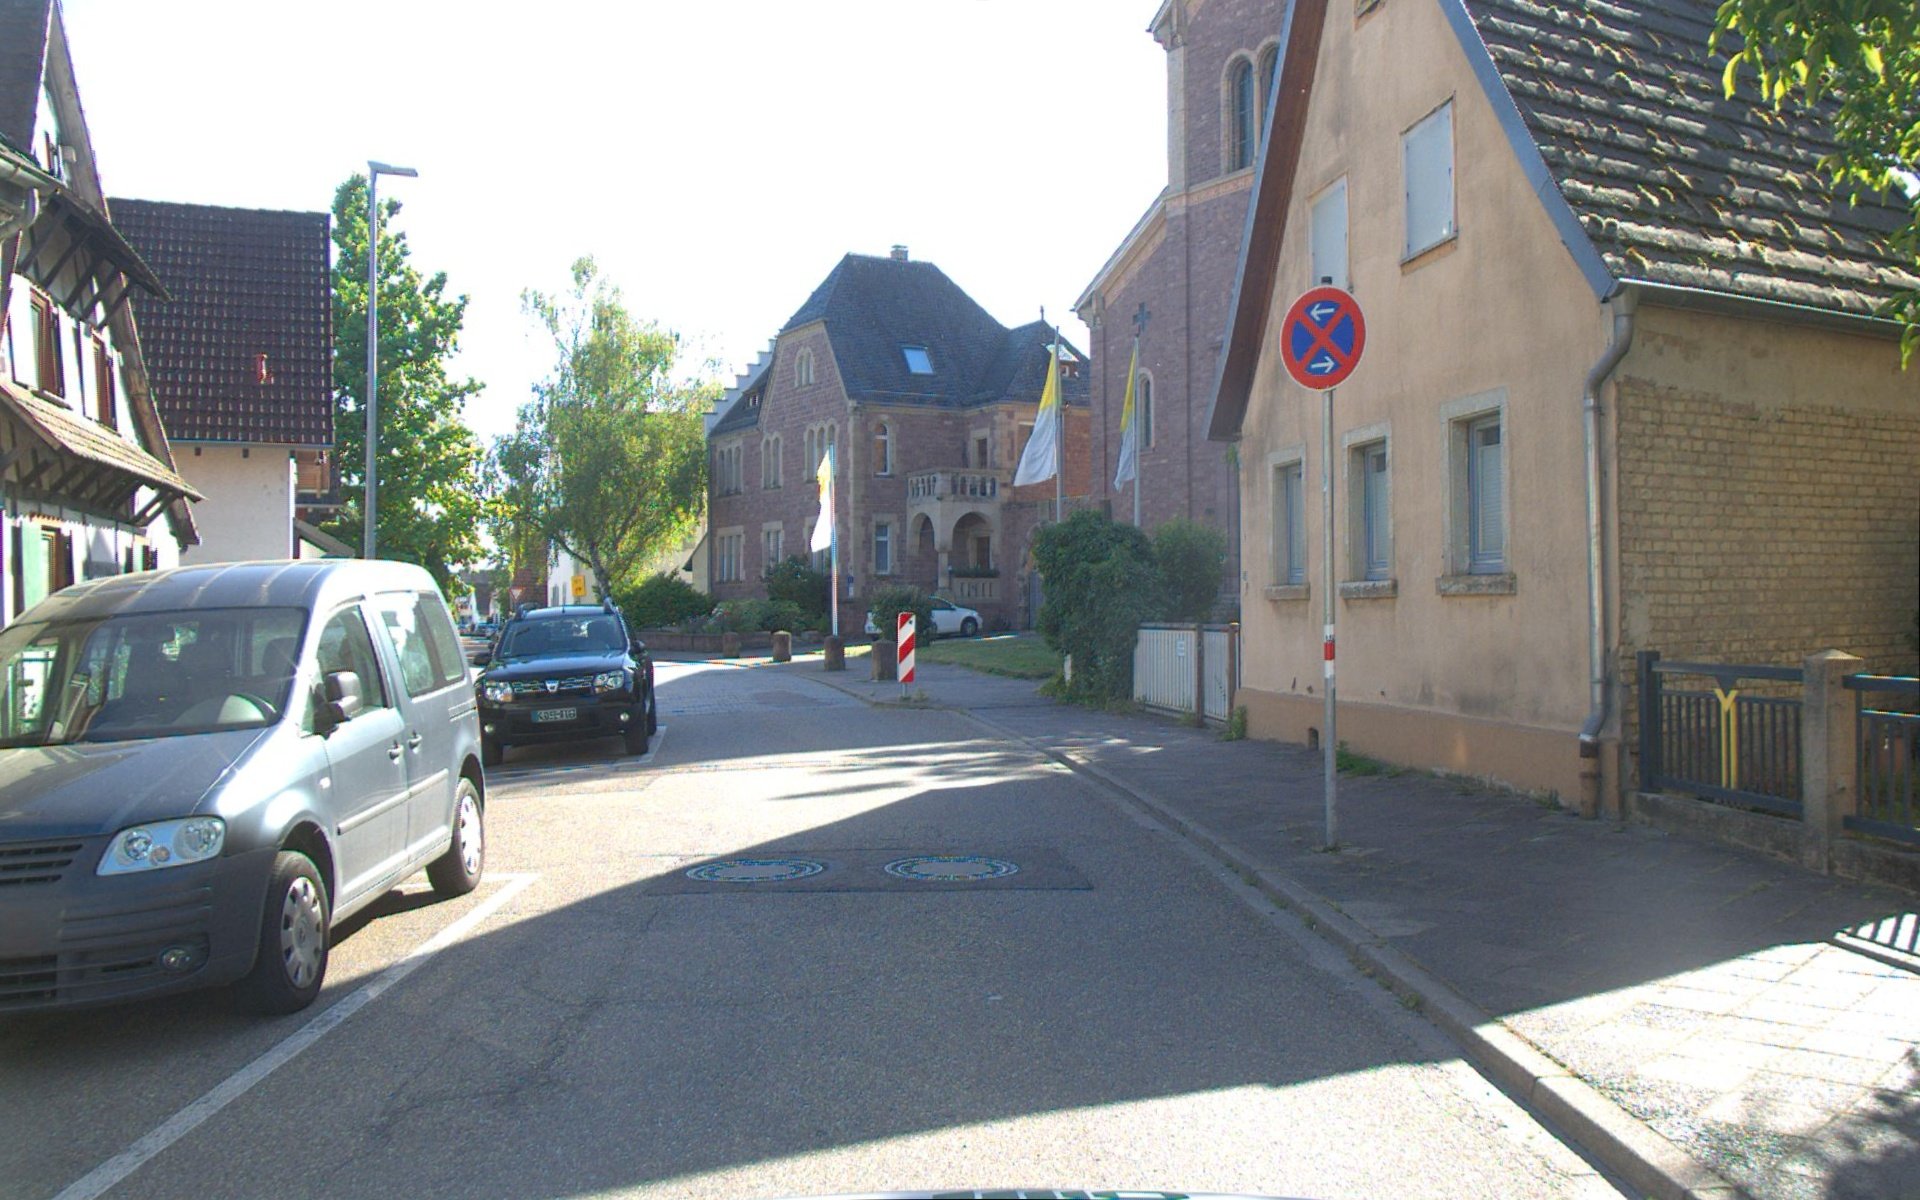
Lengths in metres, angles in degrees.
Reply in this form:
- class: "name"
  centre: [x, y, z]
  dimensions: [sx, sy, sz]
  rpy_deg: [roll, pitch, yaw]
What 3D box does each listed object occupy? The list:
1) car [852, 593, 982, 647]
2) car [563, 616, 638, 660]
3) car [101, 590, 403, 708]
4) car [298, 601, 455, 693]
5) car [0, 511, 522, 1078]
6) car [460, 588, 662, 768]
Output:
- class: "car"
  centre: [-1.423, 0.665, 54.986]
  dimensions: [3.862, 1.522, 1.883]
  rpy_deg: [-3, -1, -33]
- class: "car"
  centre: [-12.640, 1.325, 58.017]
  dimensions: [1.628, 1.505, 3.899]
  rpy_deg: [1, -1, -27]
- class: "car"
  centre: [-10.458, 0.733, 24.632]
  dimensions: [3.933, 1.617, 1.985]
  rpy_deg: [2, -1, -24]
- class: "car"
  centre: [-11.206, 0.897, 32.065]
  dimensions: [1.782, 1.624, 4.440]
  rpy_deg: [1, -1, -5]
- class: "car"
  centre: [-3.435, 0.671, 7.582]
  dimensions: [1.796, 1.821, 4.350]
  rpy_deg: [-3, 0, -3]
- class: "car"
  centre: [-4.391, 0.791, 18.779]
  dimensions: [1.799, 1.700, 4.343]
  rpy_deg: [-3, 0, -9]
